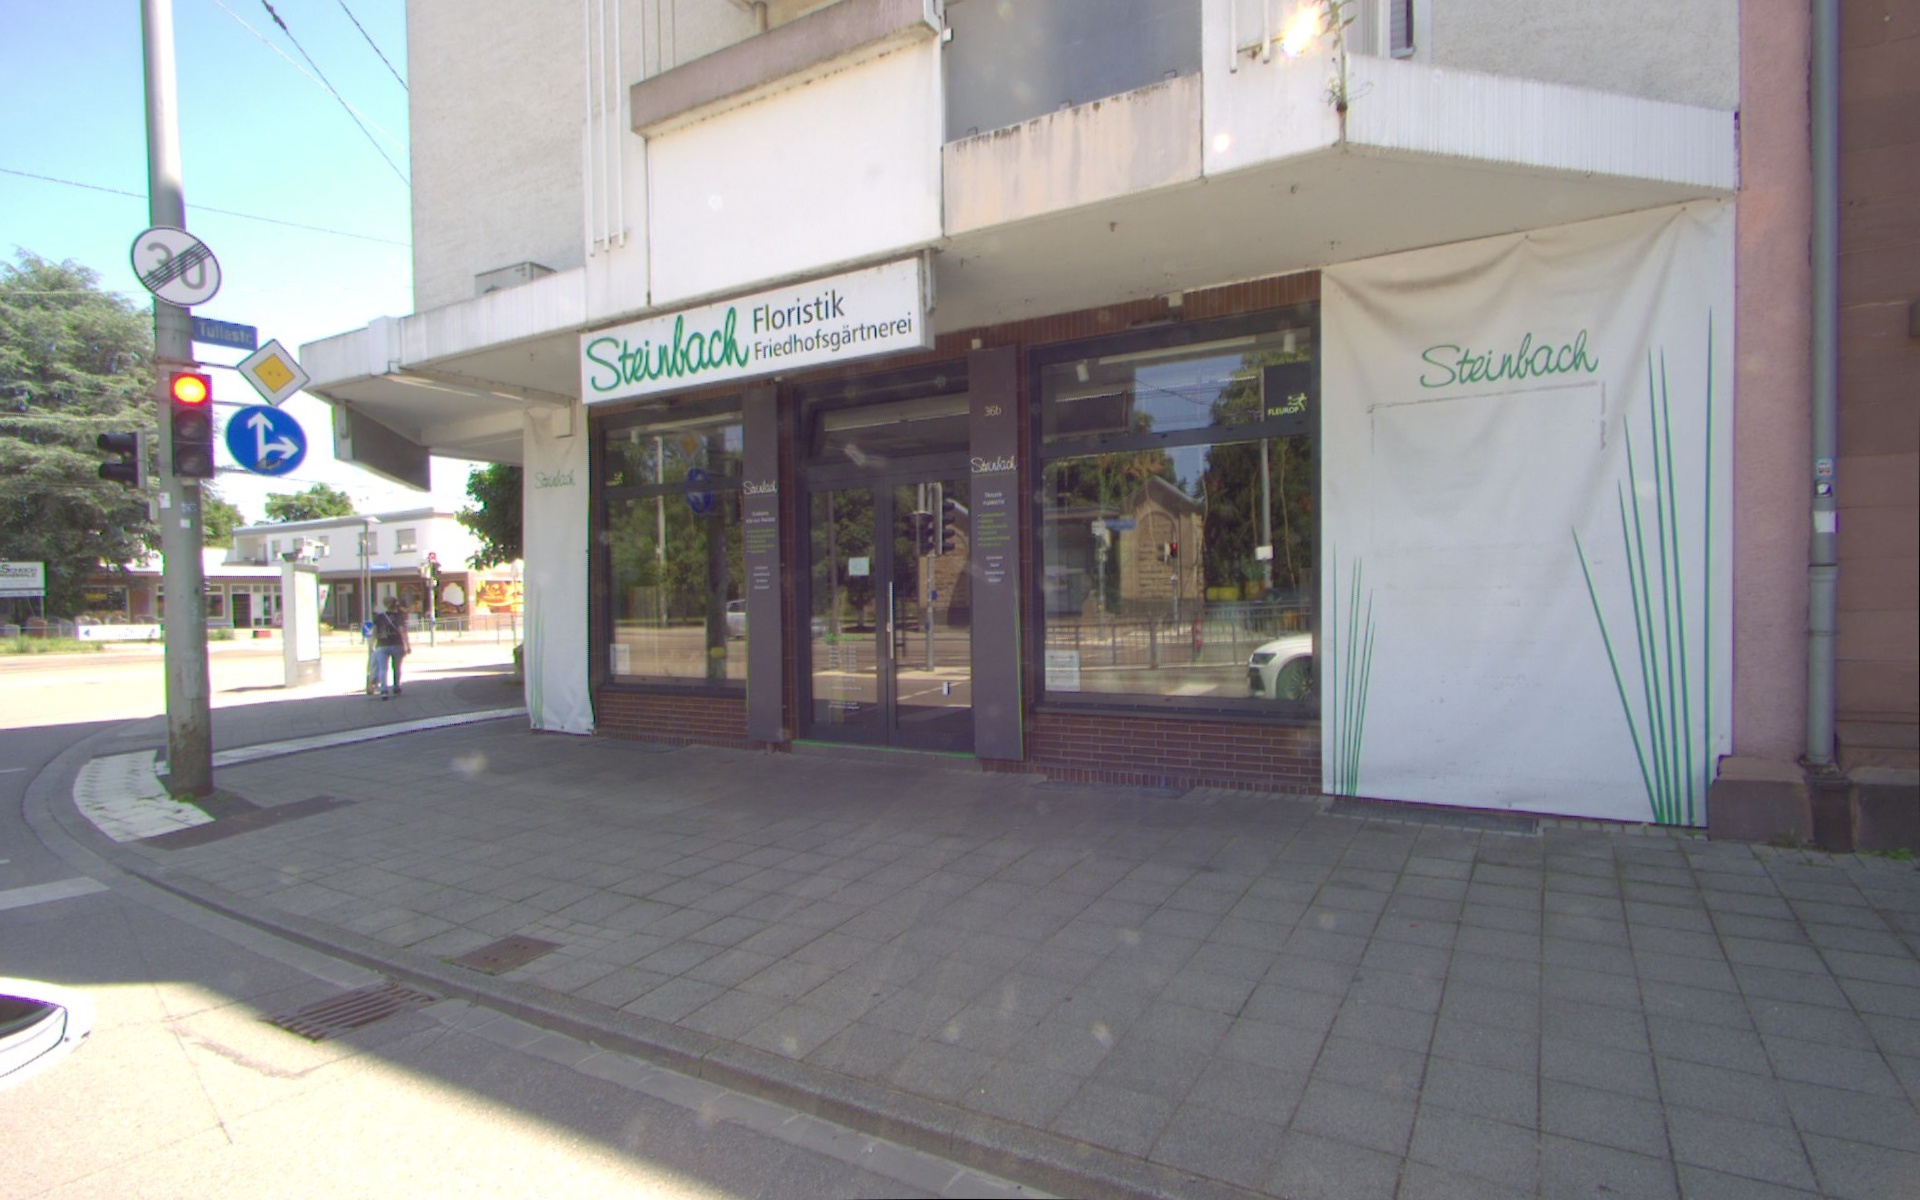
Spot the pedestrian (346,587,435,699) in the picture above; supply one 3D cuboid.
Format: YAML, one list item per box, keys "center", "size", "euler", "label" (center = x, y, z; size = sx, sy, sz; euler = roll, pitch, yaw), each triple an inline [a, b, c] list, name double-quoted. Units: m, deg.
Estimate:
- center: [-8.720, 0.640, 15.345]
  size: [0.816, 1.606, 0.822]
  euler: [0, 4, 38]
  label: "pedestrian"

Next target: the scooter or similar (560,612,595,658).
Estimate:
- center: [-10.474, 0.952, 27.446]
  size: [0.387, 1.229, 1.255]
  euler: [0, 0, 5]
  label: "scooter or similar"
